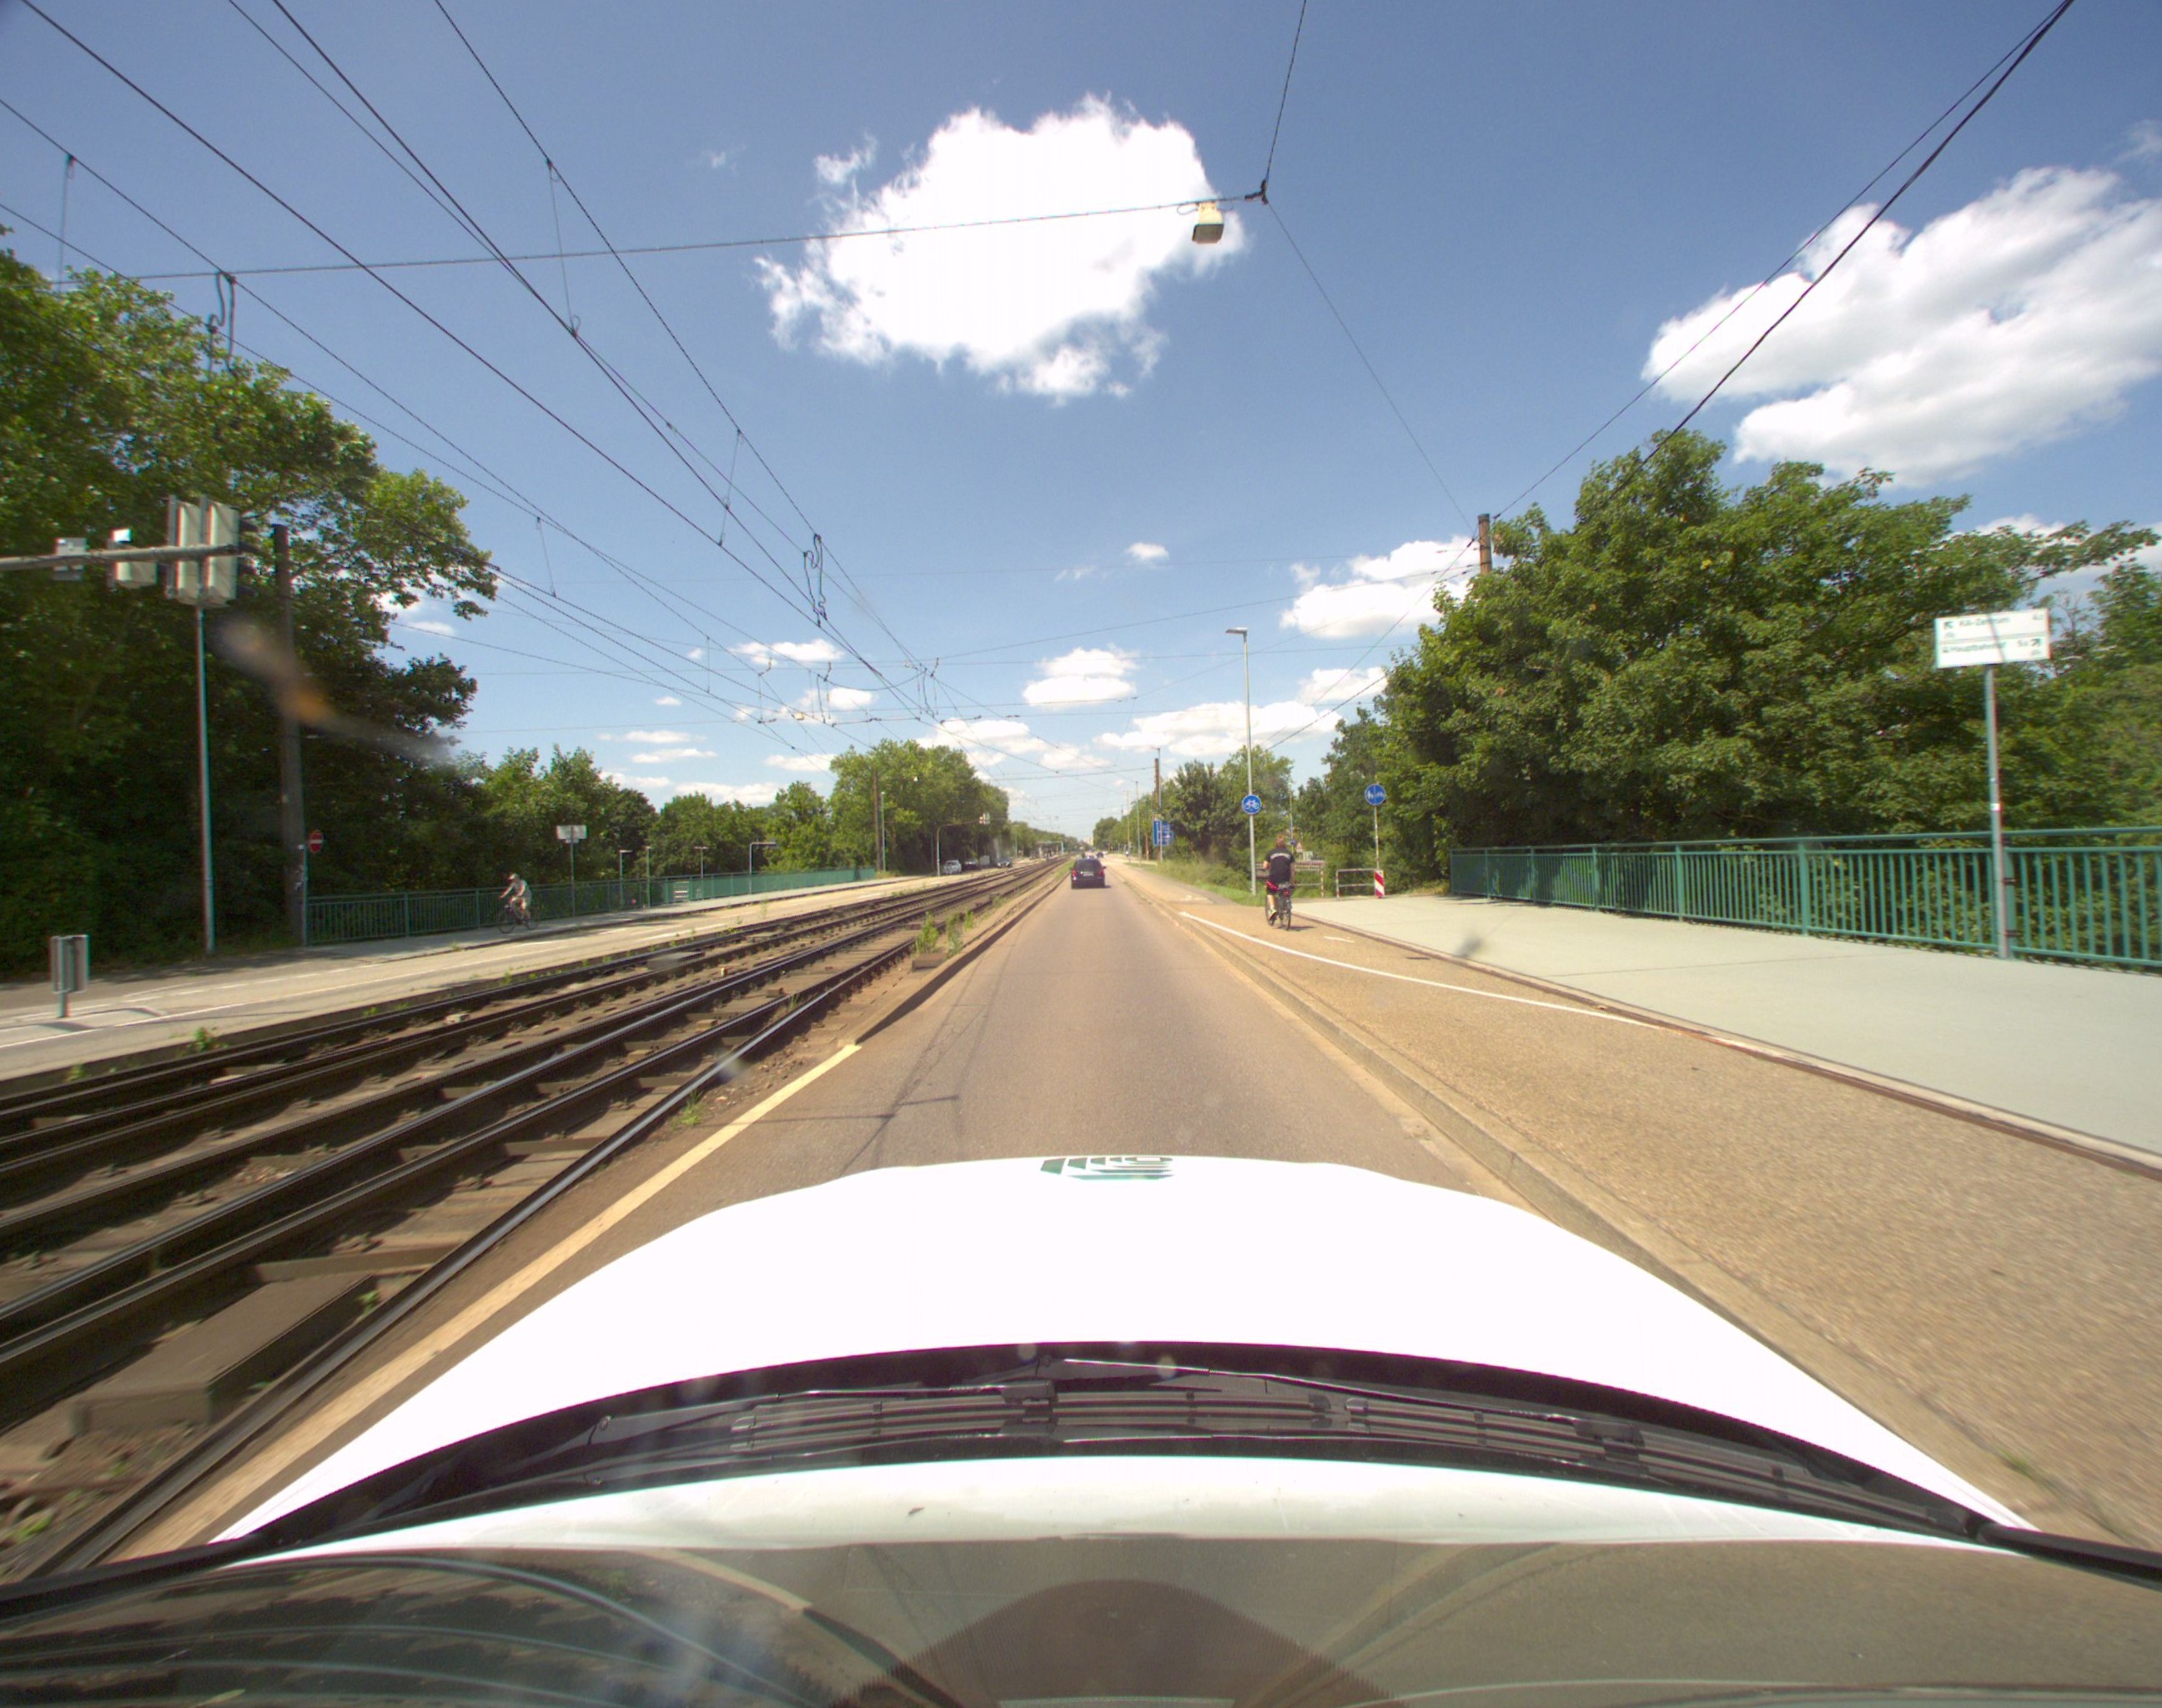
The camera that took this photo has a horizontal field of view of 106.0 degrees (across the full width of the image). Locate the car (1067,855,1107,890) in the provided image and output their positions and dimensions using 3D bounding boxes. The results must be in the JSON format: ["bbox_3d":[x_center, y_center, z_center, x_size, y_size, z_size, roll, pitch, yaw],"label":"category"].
[{"bbox_3d":[0.370,0.923,43.265,1.845,1.570,4.392,-1,2,3],"label":"car"}]

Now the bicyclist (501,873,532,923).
[{"bbox_3d":[-17.190,1.324,24.812,0.454,1.474,0.633,-2,0,3],"label":"bicyclist"}]

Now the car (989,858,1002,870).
[{"bbox_3d":[-15.642,1.885,148.441,1.847,2.013,4.001,-1,1,1],"label":"car"}]

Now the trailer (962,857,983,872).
[{"bbox_3d":[-15.055,1.424,112.917,2.457,1.889,5.953,-2,0,-4],"label":"trailer"}]

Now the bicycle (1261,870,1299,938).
[{"bbox_3d":[3.839,0.925,15.780,0.430,1.152,1.858,-1,1,5],"label":"bicycle"}]

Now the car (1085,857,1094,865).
[{"bbox_3d":[1.936,1.493,177.808,1.878,1.639,4.002,1,1,1],"label":"car"}]

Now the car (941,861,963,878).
[{"bbox_3d":[-15.379,1.824,97.154,1.715,1.630,4.615,-5,2,-1],"label":"car"}]

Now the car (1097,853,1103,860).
[{"bbox_3d":[5.604,0.681,240.101,1.780,2.013,4.001,-1,1,1],"label":"car"}]

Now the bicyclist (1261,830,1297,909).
[{"bbox_3d":[3.808,0.288,15.709,0.582,1.494,0.558,-1,1,5],"label":"bicyclist"}]

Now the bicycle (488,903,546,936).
[{"bbox_3d":[-17.165,1.980,24.836,0.467,0.868,1.744,-2,0,3],"label":"bicycle"}]

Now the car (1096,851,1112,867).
[{"bbox_3d":[3.110,0.632,110.742,1.987,2.013,3.999,-1,1,-1],"label":"car"}]

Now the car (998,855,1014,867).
[{"bbox_3d":[-11.190,1.054,122.072,1.869,1.720,5.329,-2,0,0],"label":"car"}]

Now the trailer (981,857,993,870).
[{"bbox_3d":[-15.446,1.586,133.365,1.605,2.013,3.912,-1,1,-2],"label":"trailer"}]

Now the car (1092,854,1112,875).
[{"bbox_3d":[2.239,1.054,86.513,1.986,2.013,4.002,-1,1,1],"label":"car"}]

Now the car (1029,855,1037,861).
[{"bbox_3d":[-15.069,1.249,256.534,1.987,2.013,4.000,-3,0,0],"label":"car"}]
